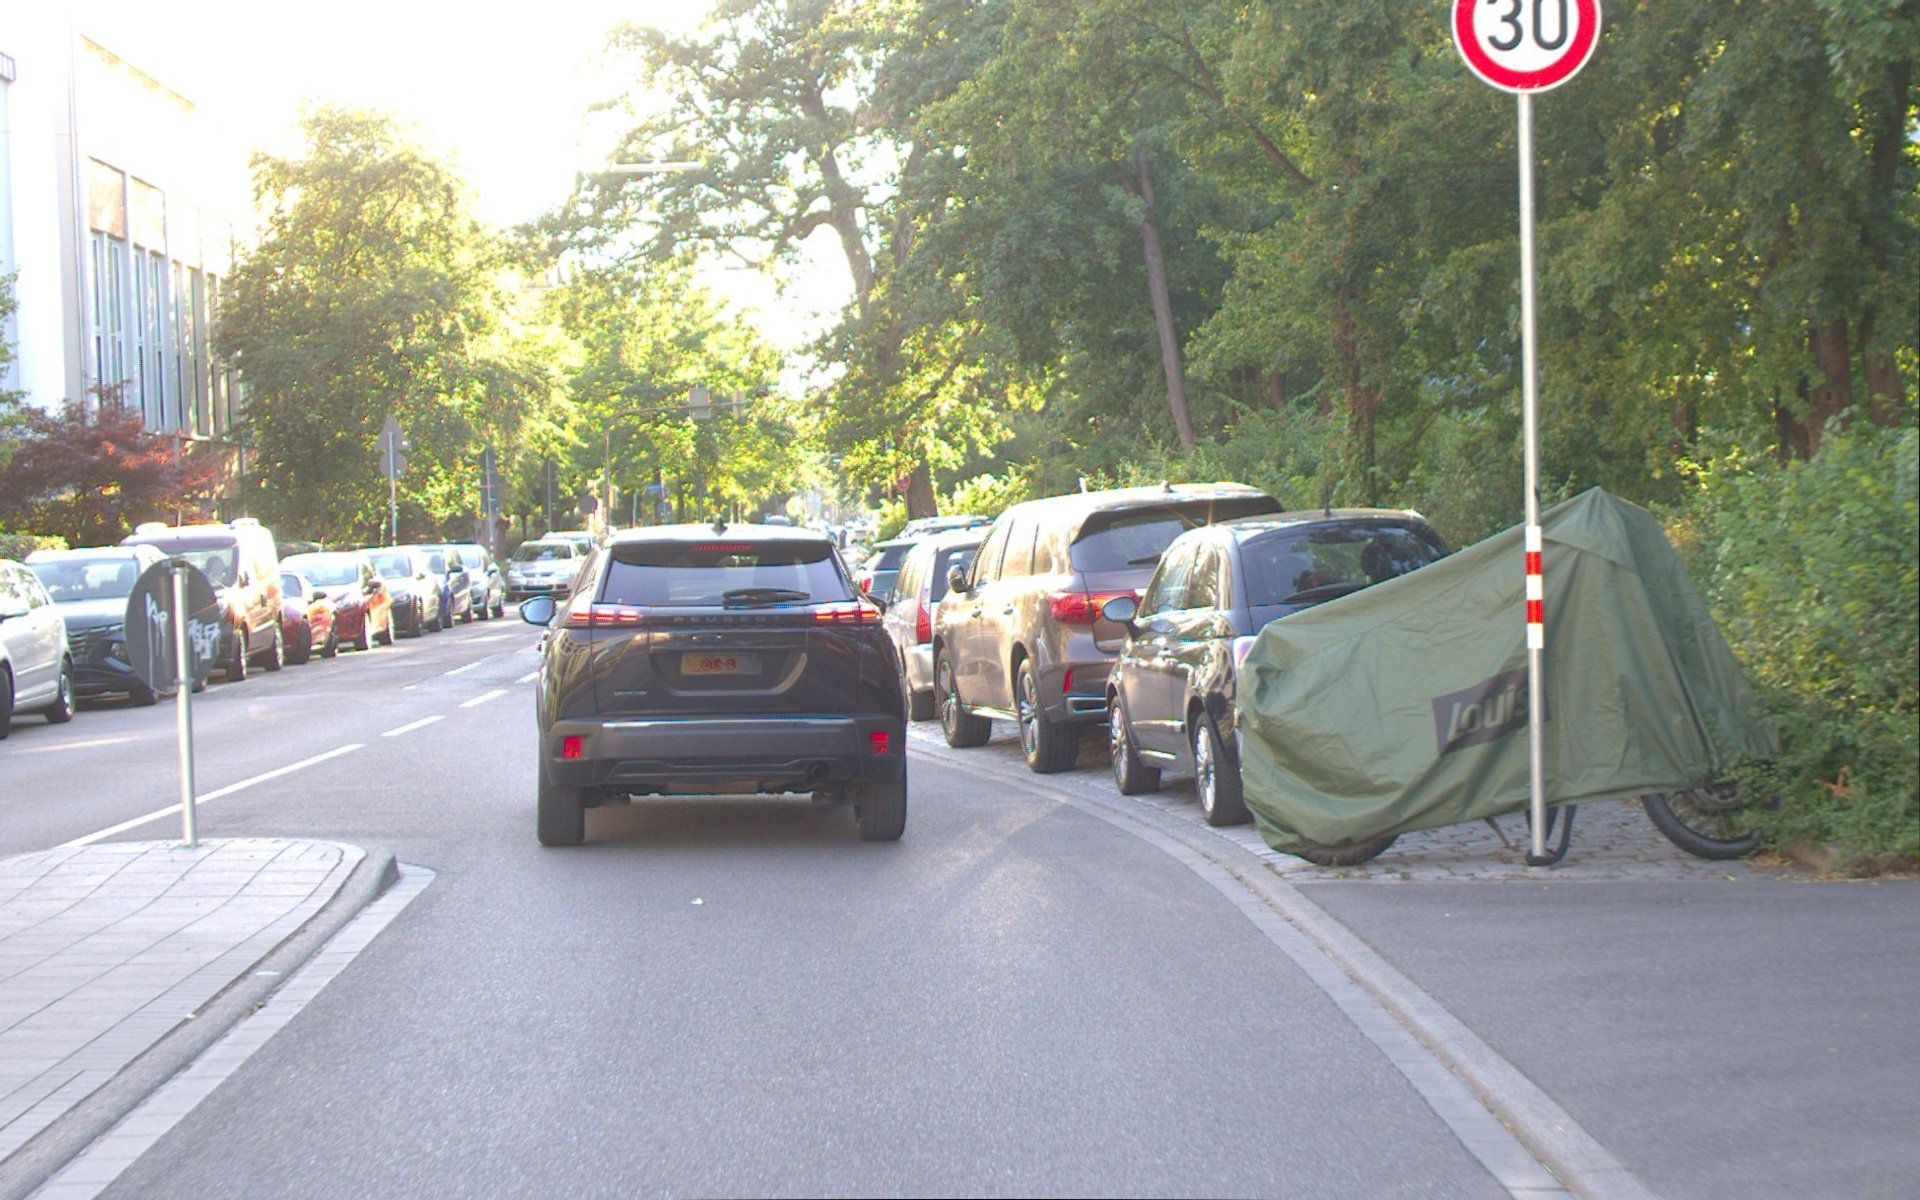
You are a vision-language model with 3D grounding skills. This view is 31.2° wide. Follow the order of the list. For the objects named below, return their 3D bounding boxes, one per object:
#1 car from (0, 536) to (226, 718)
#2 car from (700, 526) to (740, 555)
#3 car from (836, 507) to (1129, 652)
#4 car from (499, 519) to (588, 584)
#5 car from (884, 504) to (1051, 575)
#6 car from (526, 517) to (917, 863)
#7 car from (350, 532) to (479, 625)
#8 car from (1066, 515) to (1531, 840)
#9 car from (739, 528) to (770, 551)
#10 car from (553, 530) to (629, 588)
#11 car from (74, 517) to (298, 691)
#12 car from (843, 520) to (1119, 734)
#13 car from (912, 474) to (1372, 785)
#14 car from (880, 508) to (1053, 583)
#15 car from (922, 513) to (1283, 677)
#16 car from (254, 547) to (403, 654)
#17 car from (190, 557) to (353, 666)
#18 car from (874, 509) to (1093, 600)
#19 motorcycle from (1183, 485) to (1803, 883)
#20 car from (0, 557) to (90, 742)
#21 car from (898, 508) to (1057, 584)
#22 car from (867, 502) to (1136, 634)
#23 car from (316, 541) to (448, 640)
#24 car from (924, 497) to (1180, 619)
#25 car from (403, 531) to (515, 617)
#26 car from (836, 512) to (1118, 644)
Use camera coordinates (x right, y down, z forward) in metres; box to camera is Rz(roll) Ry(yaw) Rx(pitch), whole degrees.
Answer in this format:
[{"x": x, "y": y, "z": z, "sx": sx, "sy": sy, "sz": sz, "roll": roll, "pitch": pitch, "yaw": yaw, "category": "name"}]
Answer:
[{"x": -9.079, "y": 0.232, "z": 36.394, "sx": 1.742, "sy": 1.670, "sz": 4.417, "roll": -3, "pitch": 2, "yaw": -2, "category": "car"}, {"x": -12.122, "y": -3.026, "z": 173.587, "sx": 1.810, "sy": 1.349, "sz": 4.001, "roll": -3, "pitch": 2, "yaw": -6, "category": "car"}, {"x": 0.262, "y": -0.284, "z": 44.751, "sx": 3.609, "sy": 1.520, "sz": 1.672, "roll": -5, "pitch": 2, "yaw": -3, "category": "car"}, {"x": -10.158, "y": -1.202, "z": 84.147, "sx": 1.671, "sy": 1.488, "sz": 4.061, "roll": -2, "pitch": 1, "yaw": -1, "category": "car"}, {"x": 0.215, "y": -1.566, "z": 88.691, "sx": 4.170, "sy": 1.704, "sz": 1.867, "roll": -1, "pitch": 1, "yaw": 3, "category": "car"}, {"x": -1.245, "y": 0.370, "z": 17.393, "sx": 1.768, "sy": 1.563, "sz": 3.381, "roll": -1, "pitch": 1, "yaw": -5, "category": "car"}, {"x": -9.844, "y": -0.415, "z": 62.278, "sx": 1.598, "sy": 1.502, "sz": 3.787, "roll": -3, "pitch": 2, "yaw": 1, "category": "car"}, {"x": 1.682, "y": 0.335, "z": 18.163, "sx": 1.619, "sy": 1.481, "sz": 3.420, "roll": -3, "pitch": 1, "yaw": -8, "category": "car"}, {"x": -12.775, "y": -3.752, "z": 213.668, "sx": 1.810, "sy": 1.349, "sz": 3.980, "roll": -3, "pitch": 2, "yaw": -5, "category": "car"}, {"x": -10.357, "y": -1.160, "z": 96.668, "sx": 1.679, "sy": 1.452, "sz": 3.882, "roll": -3, "pitch": 2, "yaw": -1, "category": "car"}, {"x": -9.348, "y": -0.008, "z": 41.832, "sx": 1.807, "sy": 1.883, "sz": 4.239, "roll": -3, "pitch": 2, "yaw": -2, "category": "car"}, {"x": 0.093, "y": 0.165, "z": 28.535, "sx": 1.650, "sy": 1.562, "sz": 4.302, "roll": -3, "pitch": 1, "yaw": -7, "category": "car"}, {"x": 1.052, "y": 0.128, "z": 22.551, "sx": 1.921, "sy": 1.742, "sz": 4.668, "roll": -3, "pitch": 1, "yaw": -10, "category": "car"}, {"x": 0.142, "y": -1.339, "z": 83.954, "sx": 4.122, "sy": 1.661, "sz": 1.723, "roll": -2, "pitch": 1, "yaw": -1, "category": "car"}, {"x": 1.448, "y": -0.072, "z": 35.843, "sx": 3.627, "sy": 1.535, "sz": 1.672, "roll": -2, "pitch": 2, "yaw": -1, "category": "car"}, {"x": -9.415, "y": -0.020, "z": 51.485, "sx": 1.598, "sy": 1.450, "sz": 3.862, "roll": -2, "pitch": 1, "yaw": -2, "category": "car"}, {"x": -9.385, "y": 0.129, "z": 47.098, "sx": 1.556, "sy": 1.275, "sz": 3.733, "roll": -3, "pitch": 2, "yaw": -2, "category": "car"}, {"x": 0.481, "y": -0.948, "z": 70.653, "sx": 4.337, "sy": 1.470, "sz": 1.742, "roll": -5, "pitch": 2, "yaw": 0, "category": "car"}, {"x": 2.224, "y": 0.344, "z": 14.386, "sx": 2.295, "sy": 1.539, "sz": 1.038, "roll": -2, "pitch": 1, "yaw": 29, "category": "motorcycle"}, {"x": -9.129, "y": 0.440, "z": 30.849, "sx": 1.742, "sy": 1.528, "sz": 4.116, "roll": -3, "pitch": 1, "yaw": -3, "category": "car"}, {"x": 0.397, "y": -1.272, "z": 81.478, "sx": 3.588, "sy": 1.561, "sz": 1.818, "roll": -4, "pitch": 0, "yaw": -2, "category": "car"}, {"x": 0.574, "y": -0.483, "z": 49.814, "sx": 3.666, "sy": 1.547, "sz": 1.735, "roll": -5, "pitch": 2, "yaw": -3, "category": "car"}, {"x": -9.645, "y": -0.188, "z": 57.626, "sx": 1.598, "sy": 1.450, "sz": 4.056, "roll": -3, "pitch": 2, "yaw": -2, "category": "car"}, {"x": 1.372, "y": -0.639, "z": 52.485, "sx": 3.725, "sy": 1.493, "sz": 1.820, "roll": -5, "pitch": 1, "yaw": -1, "category": "car"}, {"x": -9.738, "y": -0.528, "z": 67.062, "sx": 1.601, "sy": 1.488, "sz": 3.772, "roll": -3, "pitch": 2, "yaw": -1, "category": "car"}, {"x": 0.198, "y": -0.322, "z": 47.130, "sx": 3.666, "sy": 1.440, "sz": 1.735, "roll": -5, "pitch": 2, "yaw": -3, "category": "car"}]
